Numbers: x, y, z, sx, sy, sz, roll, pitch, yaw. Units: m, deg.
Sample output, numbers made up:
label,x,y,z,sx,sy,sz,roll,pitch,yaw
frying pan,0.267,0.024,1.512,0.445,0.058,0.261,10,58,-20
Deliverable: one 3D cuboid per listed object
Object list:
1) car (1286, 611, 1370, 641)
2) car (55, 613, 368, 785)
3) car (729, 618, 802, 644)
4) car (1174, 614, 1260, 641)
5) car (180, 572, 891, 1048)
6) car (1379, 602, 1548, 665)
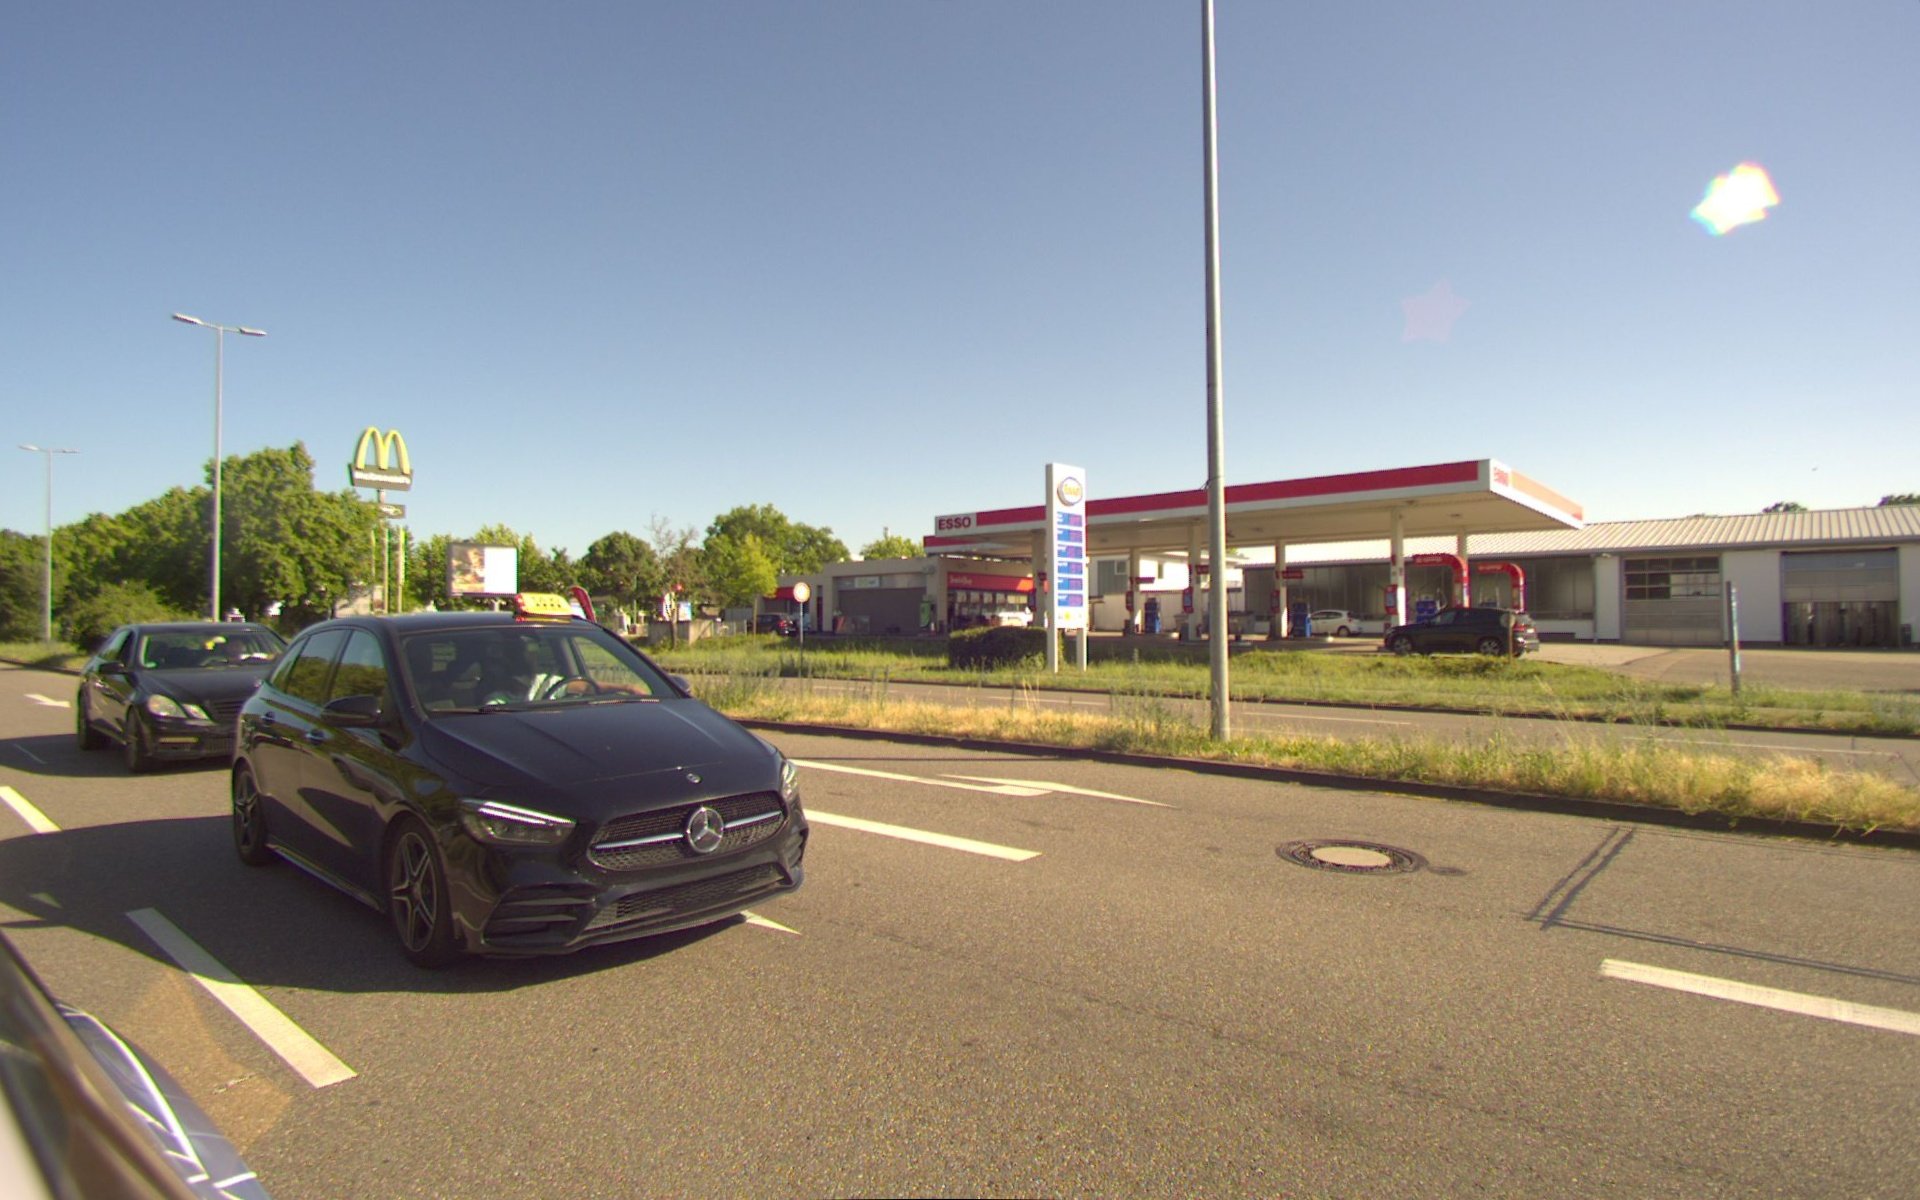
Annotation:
label,x,y,z,sx,sy,sz,roll,pitch,yaw
car,19.970,1.392,54.941,3.855,1.500,1.973,-1,0,41
car,-8.537,0.927,11.382,4.461,1.521,1.928,-1,0,41
car,-10.878,1.720,56.436,3.998,1.416,1.973,-2,-2,41
car,15.128,1.616,59.794,4.540,1.477,1.973,-1,0,41
car,-2.641,0.763,5.611,4.579,1.614,1.765,-2,-1,40
car,15.580,0.992,31.518,1.781,1.739,4.329,-4,2,-41
